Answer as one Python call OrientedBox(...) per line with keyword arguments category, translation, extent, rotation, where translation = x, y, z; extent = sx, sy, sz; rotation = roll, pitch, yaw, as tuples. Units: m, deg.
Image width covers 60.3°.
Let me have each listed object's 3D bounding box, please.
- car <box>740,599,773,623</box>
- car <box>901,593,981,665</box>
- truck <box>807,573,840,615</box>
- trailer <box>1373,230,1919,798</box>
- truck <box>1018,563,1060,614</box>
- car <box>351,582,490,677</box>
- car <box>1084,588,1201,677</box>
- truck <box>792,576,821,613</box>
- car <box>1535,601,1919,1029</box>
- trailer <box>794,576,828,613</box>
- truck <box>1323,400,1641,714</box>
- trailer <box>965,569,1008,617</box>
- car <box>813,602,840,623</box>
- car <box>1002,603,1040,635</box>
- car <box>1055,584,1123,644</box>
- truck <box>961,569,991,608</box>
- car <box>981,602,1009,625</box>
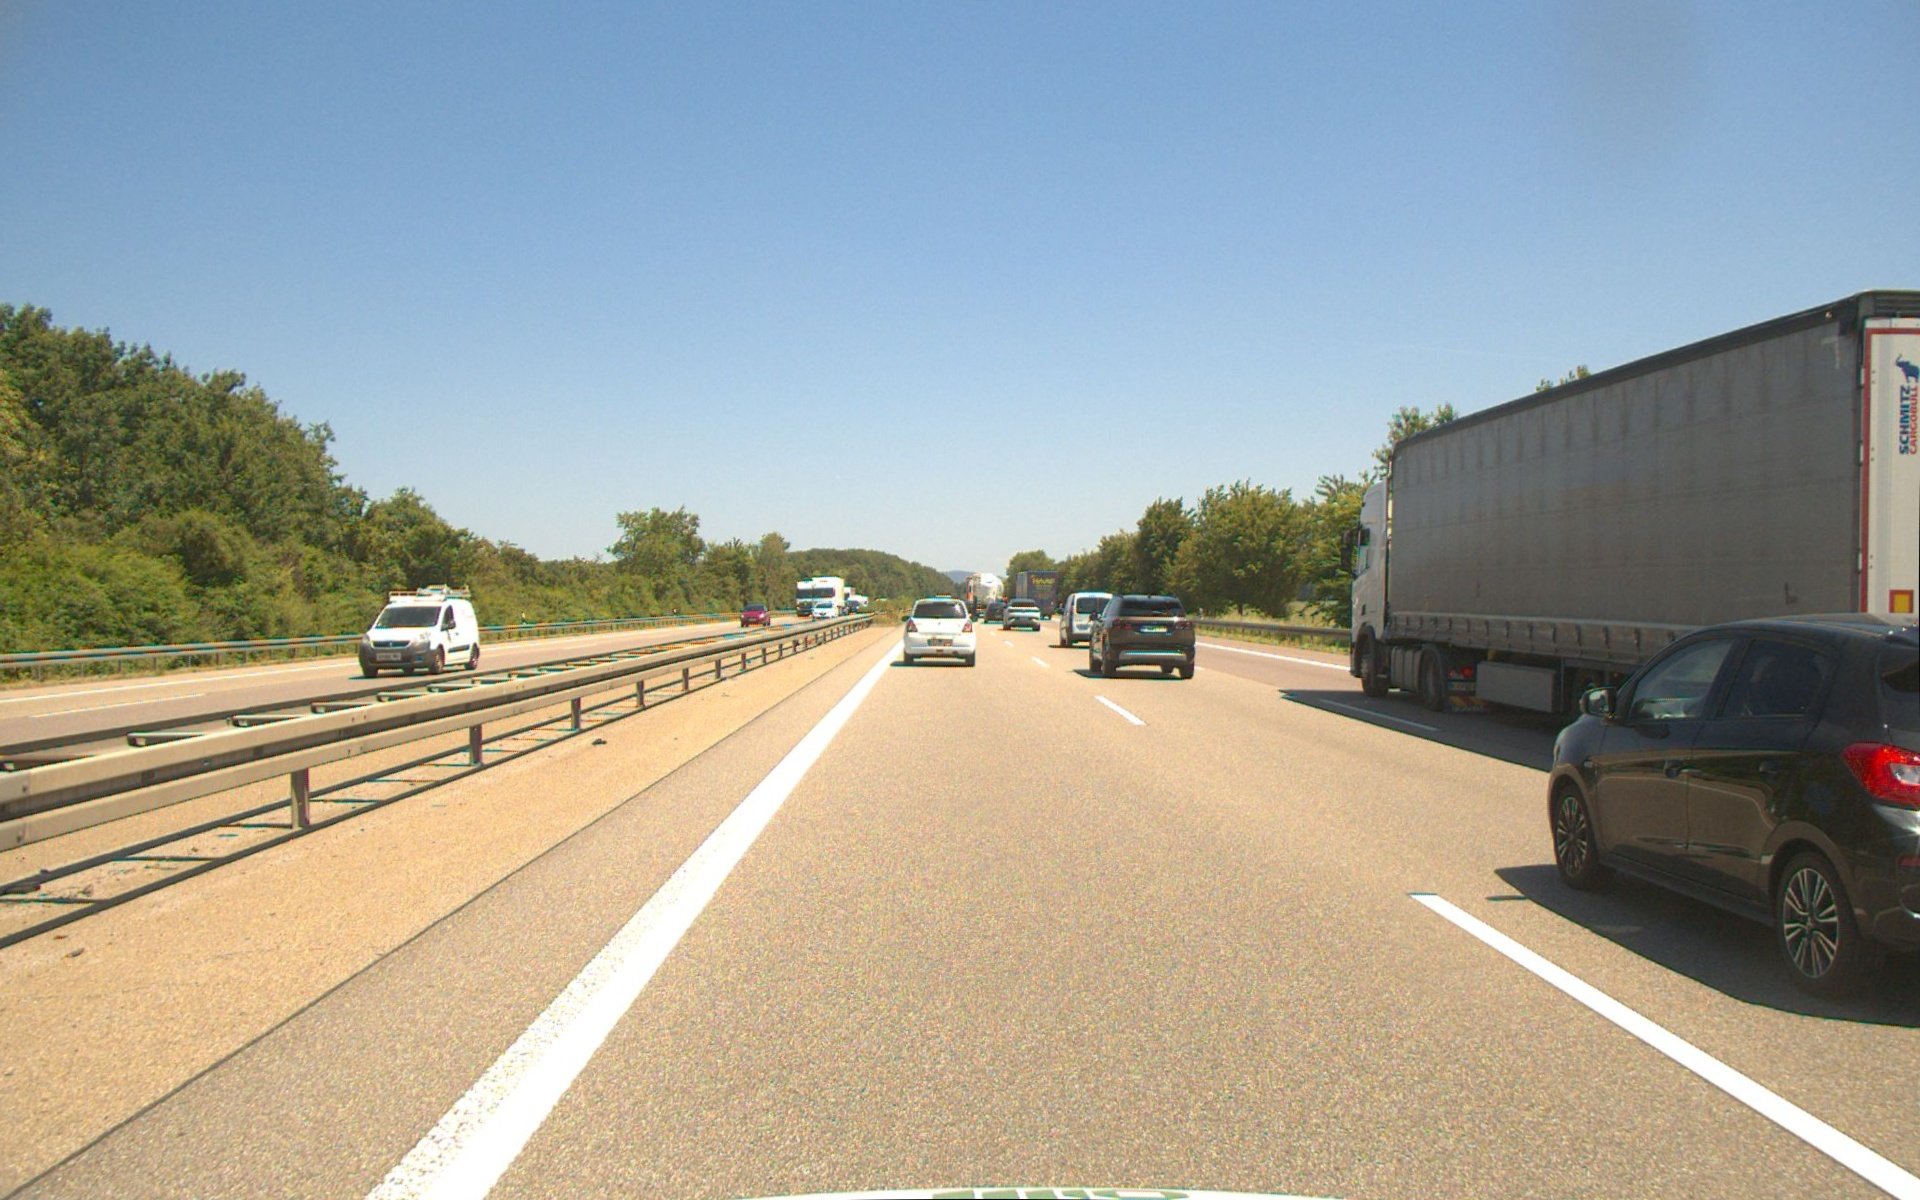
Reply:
OrientedBox(category="car", translation=(-13.659, 0.729, 111.237), extent=(1.737, 1.442, 4.109), rotation=(-2, 0, -2))
OrientedBox(category="car", translation=(-0.465, 0.659, 38.921), extent=(1.762, 1.579, 3.609), rotation=(1, 0, -1))
OrientedBox(category="truck", translation=(-13.932, -0.624, 169.450), extent=(2.684, 4.156, 6.217), rotation=(-2, 0, 1))
OrientedBox(category="trailer", translation=(8.279, -0.620, 19.938), extent=(2.753, 4.380, 14.251), rotation=(1, 0, -1))
OrientedBox(category="truck", translation=(6.930, -0.949, 147.816), extent=(3.045, 4.211, 15.511), rotation=(1, 0, 0))
OrientedBox(category="car", translation=(-12.671, 0.666, 39.098), extent=(1.752, 2.049, 4.379), rotation=(-3, 0, 0))
OrientedBox(category="car", translation=(3.775, 0.652, 34.944), extent=(1.829, 1.704, 4.745), rotation=(1, 0, -1))
OrientedBox(category="truck", translation=(-17.969, -0.639, 194.063), extent=(2.701, 4.174, 6.151), rotation=(-3, 0, 0))
OrientedBox(category="car", translation=(4.100, 0.775, 7.551), extent=(1.653, 1.499, 3.431), rotation=(1, 0, -2))
OrientedBox(category="trailer", translation=(-17.994, -0.624, 200.473), extent=(2.701, 4.174, 14.051), rotation=(-3, 0, 0))
OrientedBox(category="truck", translation=(8.175, -0.597, 26.983), extent=(2.753, 4.380, 7.191), rotation=(1, 0, -1))
OrientedBox(category="trailer", translation=(2.285, -0.583, 149.750), extent=(2.854, 4.140, 12.408), rotation=(1, 0, -4))
OrientedBox(category="car", translation=(-9.647, 0.900, 120.052), extent=(1.684, 1.447, 3.896), rotation=(-2, 0, -1))
OrientedBox(category="car", translation=(3.195, 0.984, 86.720), extent=(1.765, 1.631, 4.380), rotation=(1, 0, 0))
OrientedBox(category="car", translation=(4.355, 0.466, 56.449), extent=(1.816, 1.895, 4.700), rotation=(1, 0, -2))
OrientedBox(category="truck", translation=(1.835, -1.306, 192.583), extent=(3.325, 4.287, 12.083), rotation=(1, 0, 0))
OrientedBox(category="car", translation=(2.382, 0.929, 114.452), extent=(1.812, 1.549, 3.956), rotation=(1, 0, 0))
